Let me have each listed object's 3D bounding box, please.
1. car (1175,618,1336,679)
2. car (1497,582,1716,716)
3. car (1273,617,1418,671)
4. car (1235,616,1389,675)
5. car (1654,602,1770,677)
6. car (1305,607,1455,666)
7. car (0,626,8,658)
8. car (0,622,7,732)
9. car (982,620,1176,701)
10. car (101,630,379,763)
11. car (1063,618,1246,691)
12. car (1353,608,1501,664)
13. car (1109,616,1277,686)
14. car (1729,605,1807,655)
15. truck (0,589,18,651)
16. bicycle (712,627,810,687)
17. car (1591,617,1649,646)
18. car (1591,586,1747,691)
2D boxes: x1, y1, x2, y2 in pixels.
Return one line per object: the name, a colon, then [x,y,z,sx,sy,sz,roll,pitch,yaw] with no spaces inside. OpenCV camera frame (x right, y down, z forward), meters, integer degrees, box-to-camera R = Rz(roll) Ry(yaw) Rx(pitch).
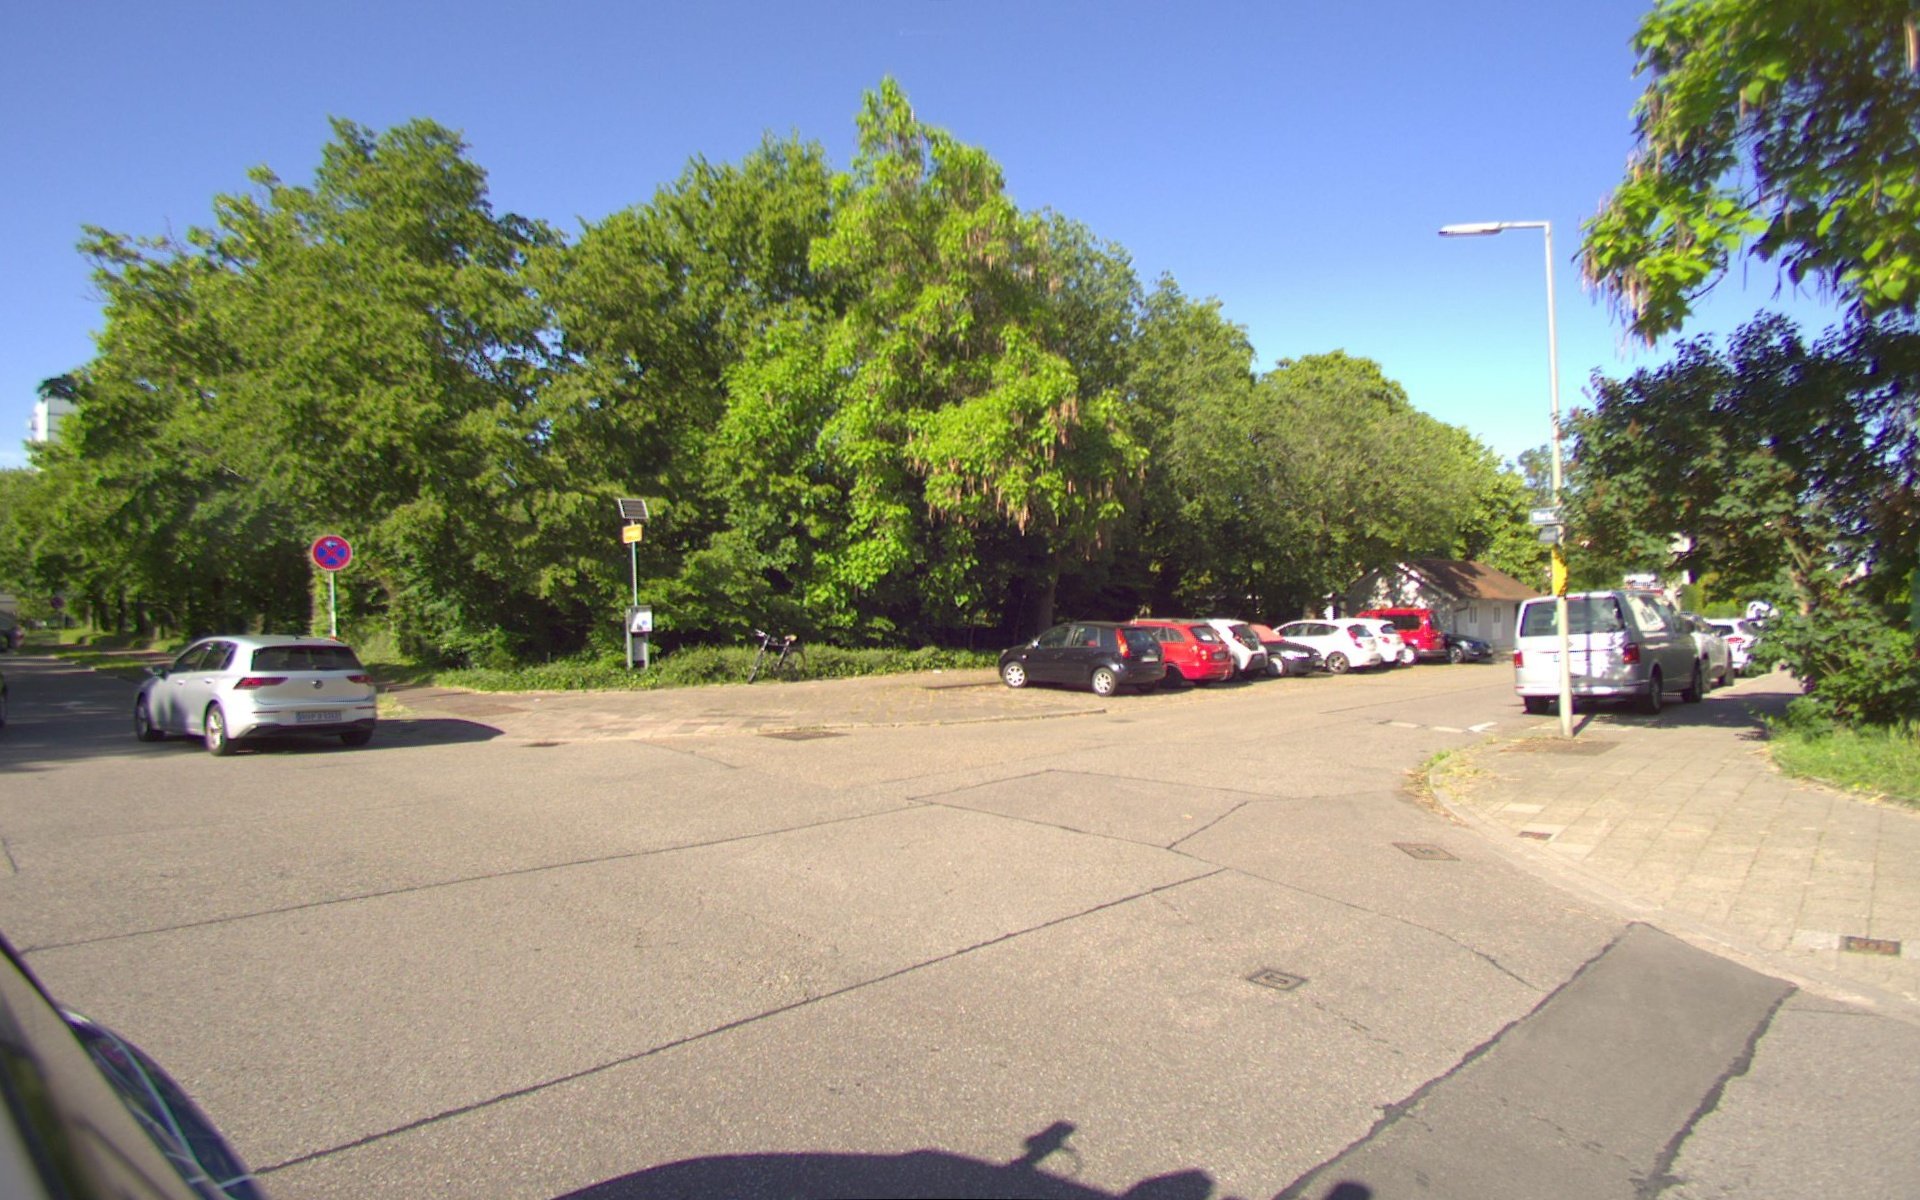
car: [7.976,1.264,27.503,3.886,1.498,1.651,0,-1,43]
car: [11.093,0.802,17.237,4.398,1.984,2.071,1,-3,-43]
car: [11.842,1.307,31.229,3.886,1.498,1.651,0,-1,43]
car: [10.182,1.270,29.428,3.886,1.569,1.651,0,-1,43]
car: [19.578,0.999,26.281,1.922,1.796,4.037,-2,-2,43]
car: [14.010,1.162,33.931,4.356,1.821,1.651,0,-1,43]
car: [-50.139,2.150,51.709,4.000,1.597,1.972,-2,-2,43]
car: [-14.351,1.110,13.577,1.826,1.657,3.764,0,-2,-37]
car: [2.469,1.211,21.580,3.886,1.498,1.651,0,-1,43]
car: [-9.550,1.160,13.328,4.179,1.478,1.647,-1,-3,35]
car: [4.431,1.189,23.426,3.886,1.498,1.651,0,-1,43]
car: [16.051,1.206,34.951,4.356,1.784,1.651,0,-1,43]
car: [5.867,1.231,25.772,3.886,1.615,1.651,0,-1,43]
car: [30.853,1.146,38.607,2.000,1.796,3.943,-2,-2,43]
truck: [-66.944,1.320,69.474,9.631,4.049,2.764,0,-2,45]
bicycle: [-4.198,1.172,21.393,1.874,1.161,0.762,1,1,-36]
car: [33.798,1.594,51.791,1.770,1.430,3.843,-2,-2,44]
car: [15.136,0.790,21.539,3.940,2.013,1.938,1,-2,-44]
